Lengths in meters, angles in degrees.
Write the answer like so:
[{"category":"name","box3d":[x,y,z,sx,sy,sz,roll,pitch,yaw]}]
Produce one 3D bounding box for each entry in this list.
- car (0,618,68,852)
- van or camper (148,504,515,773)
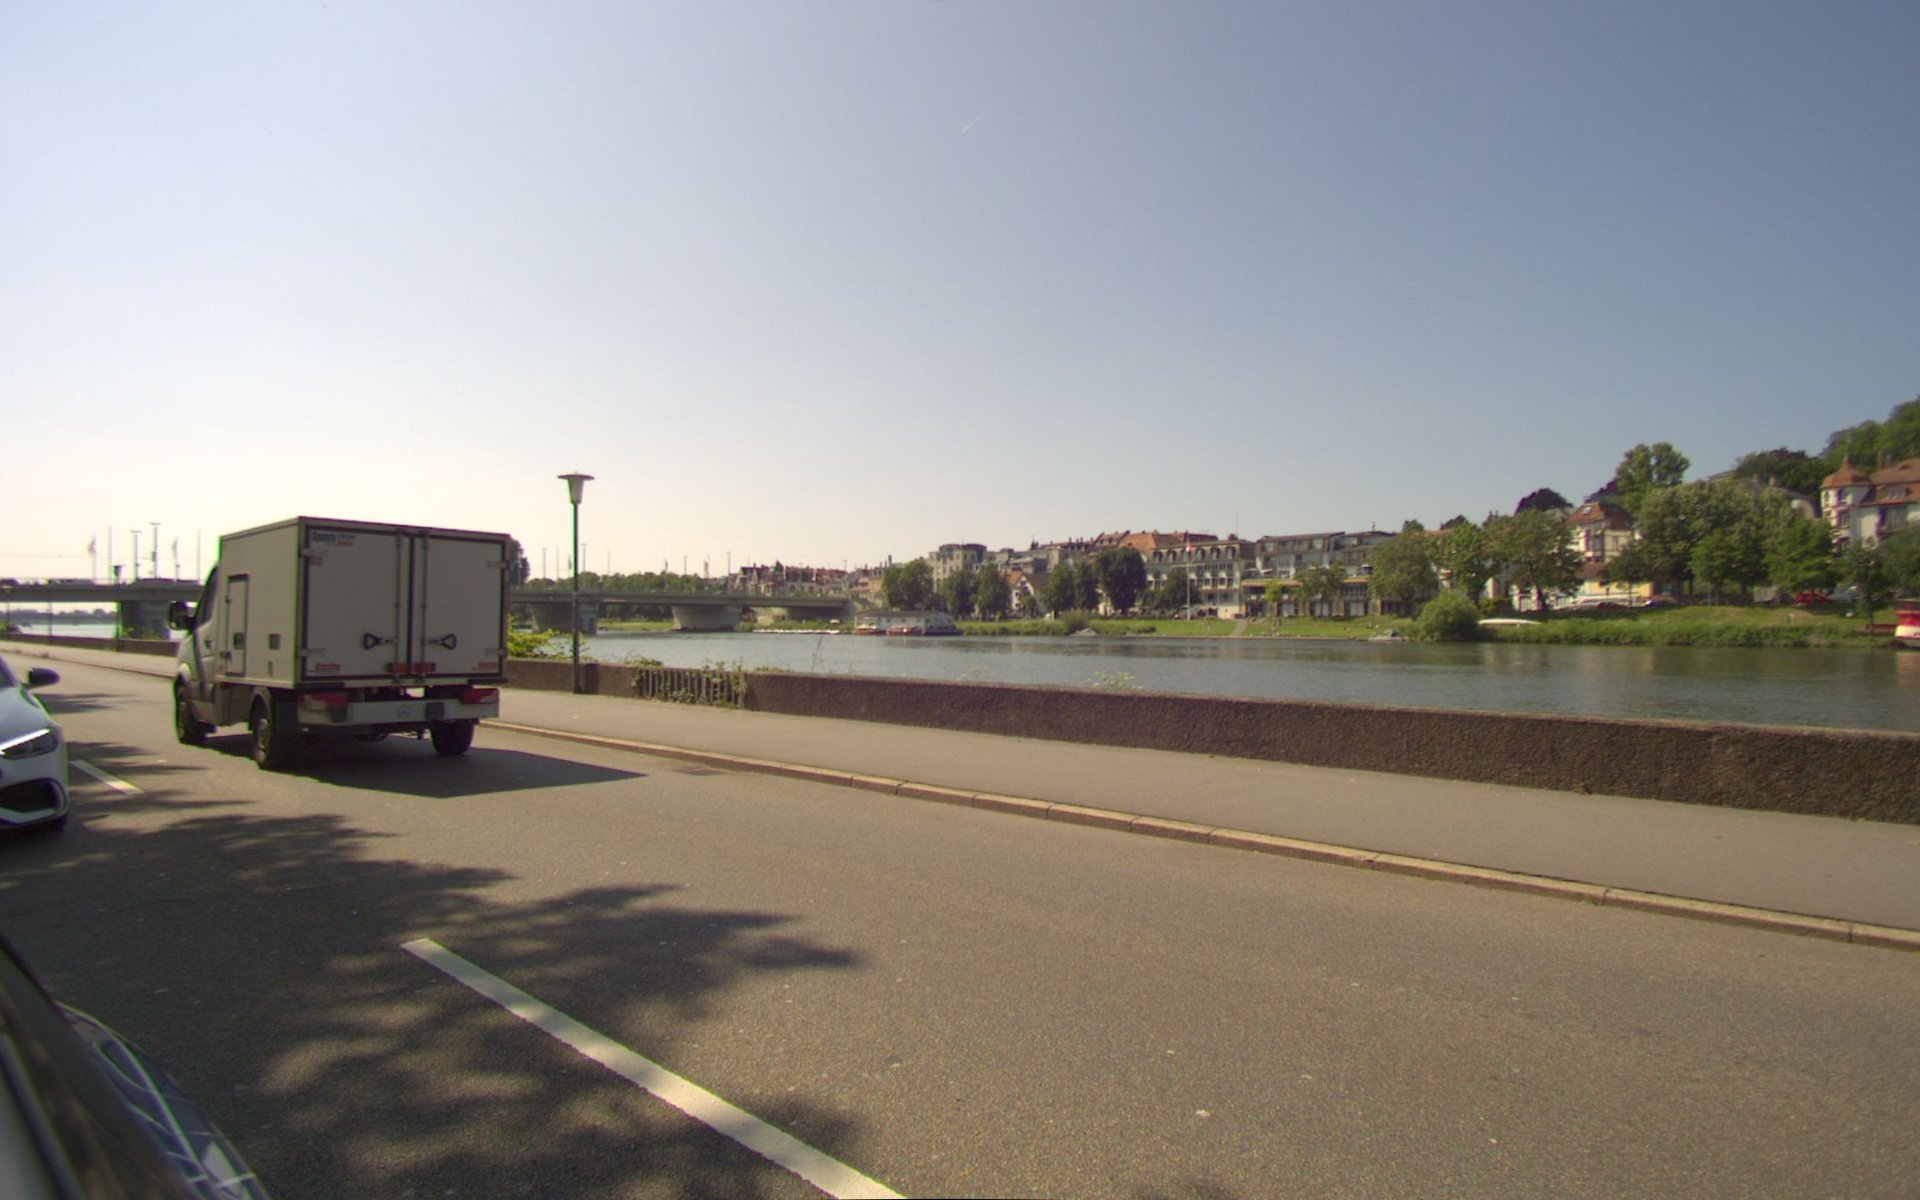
[{"category":"car","box3d":[-7.984,0.882,7.289,4.550,1.430,1.807,-2,-1,42]},{"category":"van or camper","box3d":[-7.396,0.425,11.633,5.382,2.417,2.055,-1,-3,41]}]
